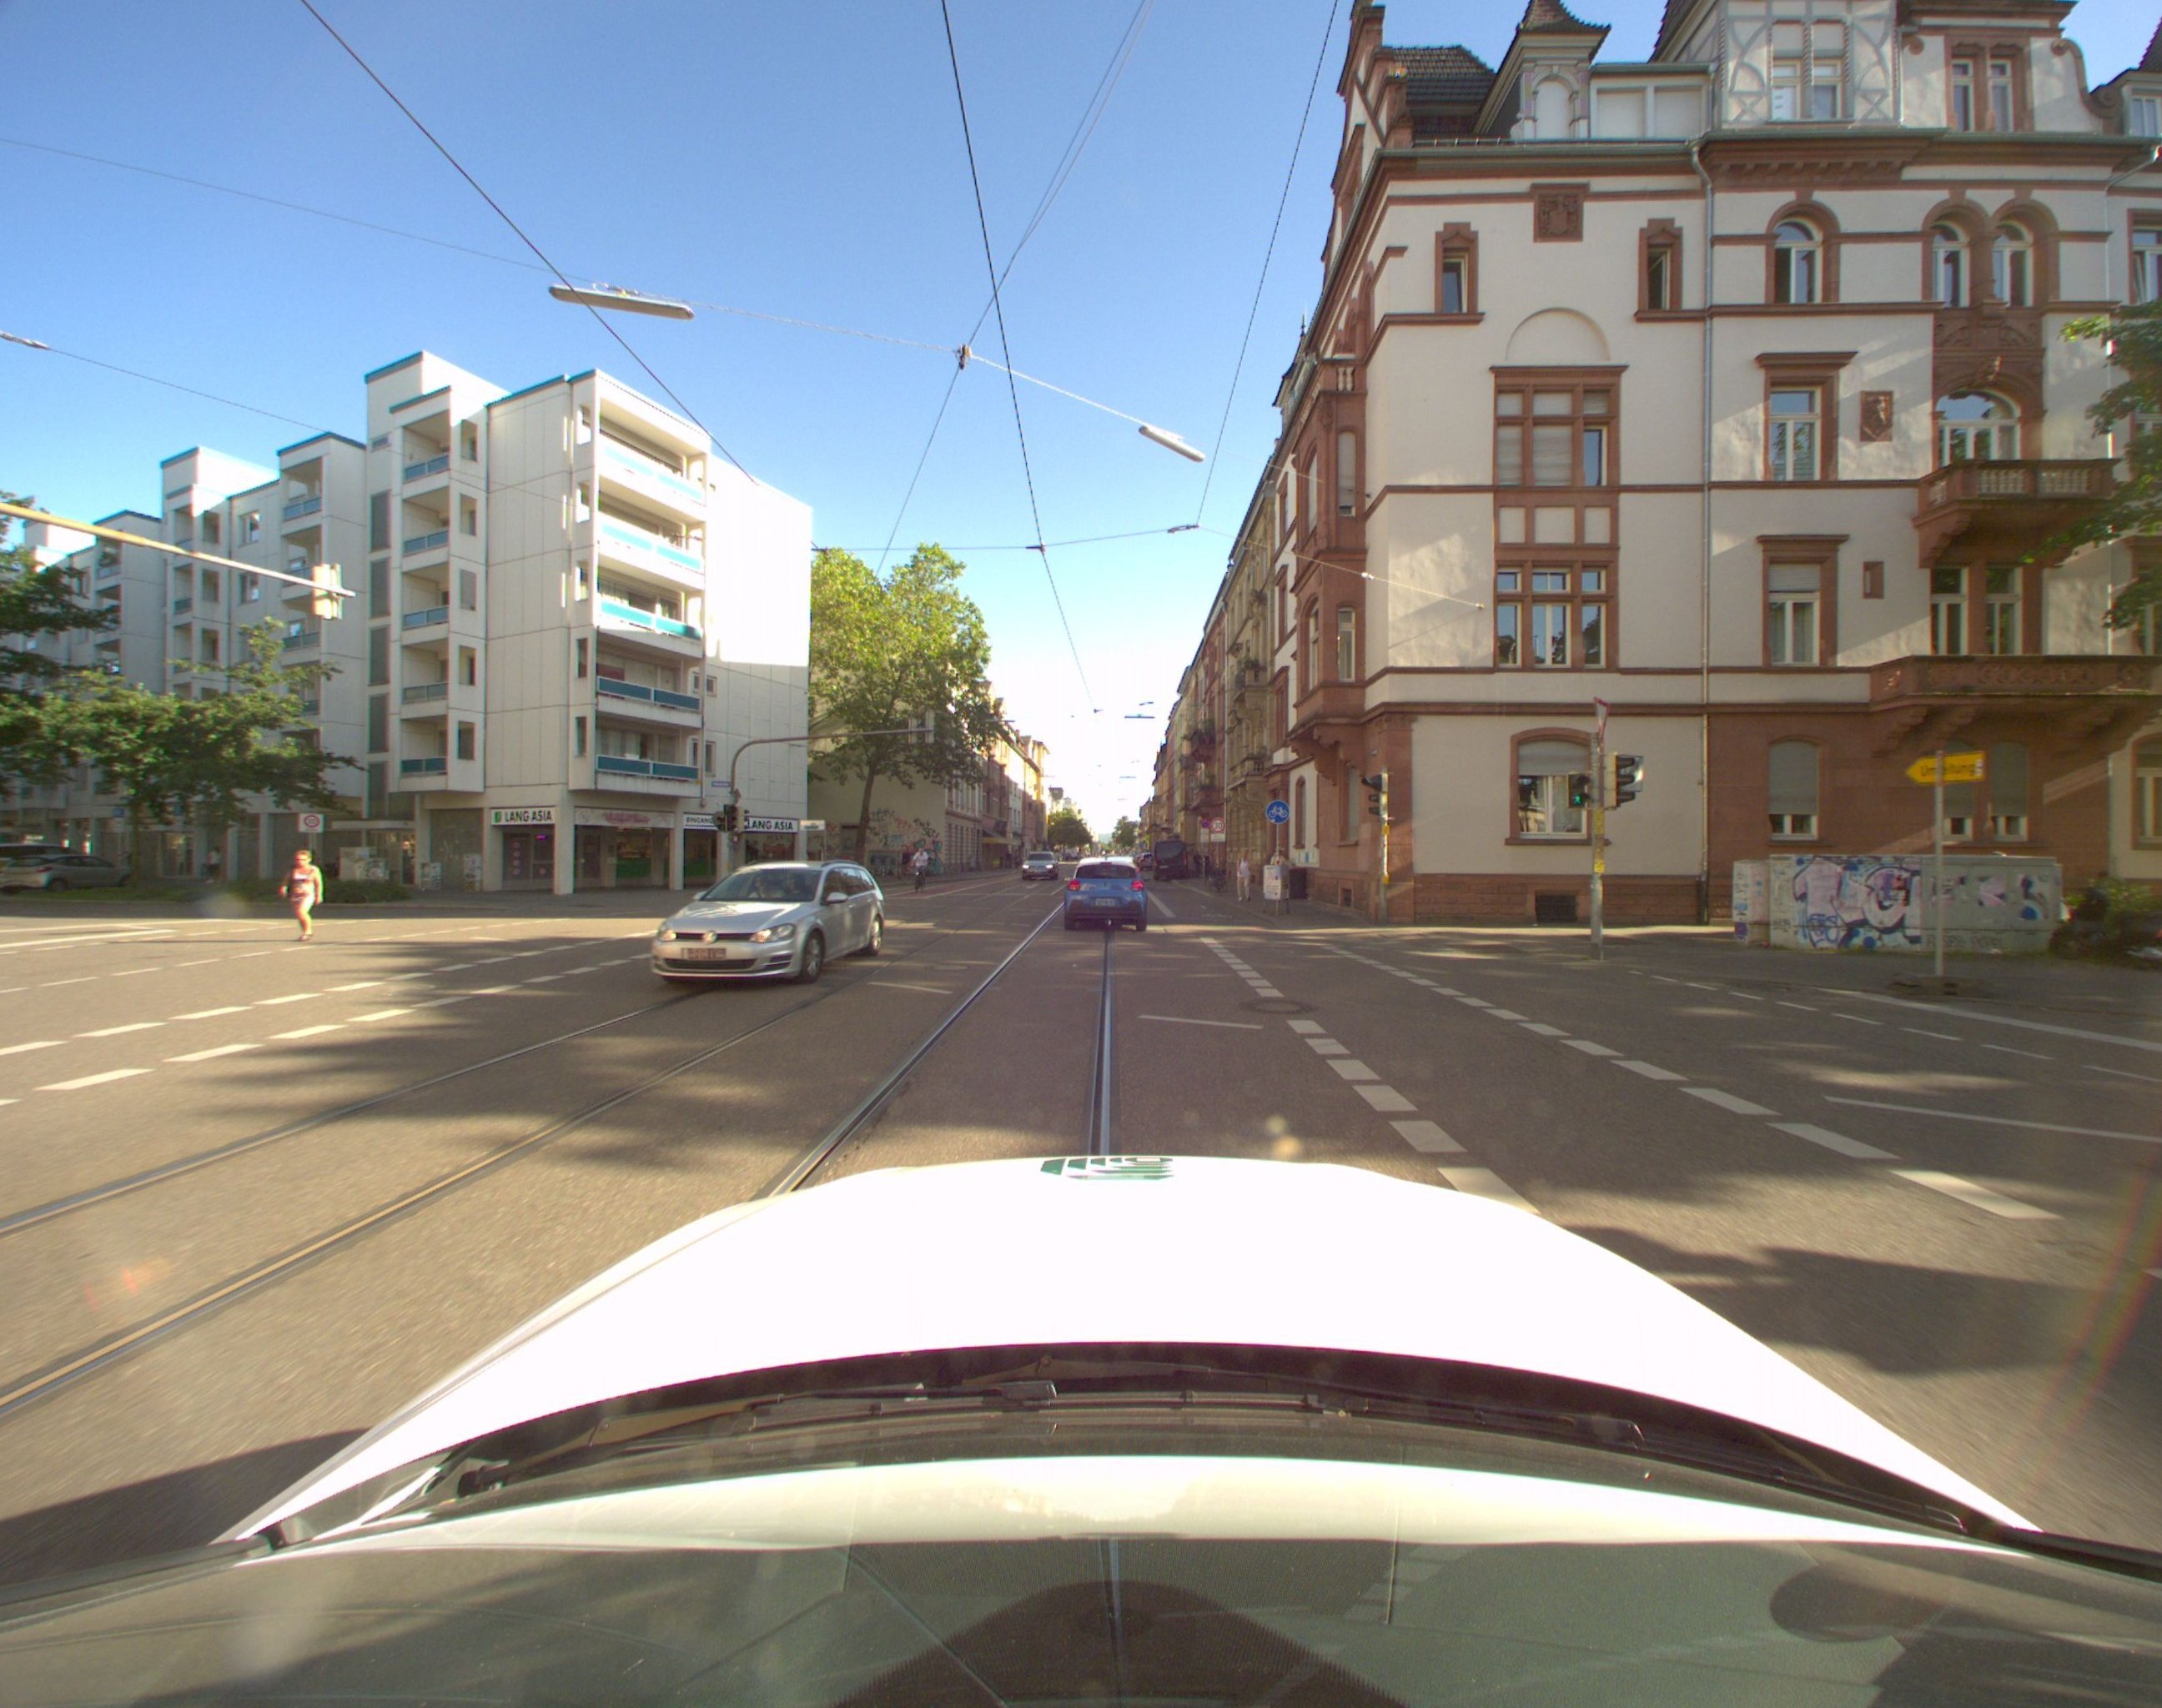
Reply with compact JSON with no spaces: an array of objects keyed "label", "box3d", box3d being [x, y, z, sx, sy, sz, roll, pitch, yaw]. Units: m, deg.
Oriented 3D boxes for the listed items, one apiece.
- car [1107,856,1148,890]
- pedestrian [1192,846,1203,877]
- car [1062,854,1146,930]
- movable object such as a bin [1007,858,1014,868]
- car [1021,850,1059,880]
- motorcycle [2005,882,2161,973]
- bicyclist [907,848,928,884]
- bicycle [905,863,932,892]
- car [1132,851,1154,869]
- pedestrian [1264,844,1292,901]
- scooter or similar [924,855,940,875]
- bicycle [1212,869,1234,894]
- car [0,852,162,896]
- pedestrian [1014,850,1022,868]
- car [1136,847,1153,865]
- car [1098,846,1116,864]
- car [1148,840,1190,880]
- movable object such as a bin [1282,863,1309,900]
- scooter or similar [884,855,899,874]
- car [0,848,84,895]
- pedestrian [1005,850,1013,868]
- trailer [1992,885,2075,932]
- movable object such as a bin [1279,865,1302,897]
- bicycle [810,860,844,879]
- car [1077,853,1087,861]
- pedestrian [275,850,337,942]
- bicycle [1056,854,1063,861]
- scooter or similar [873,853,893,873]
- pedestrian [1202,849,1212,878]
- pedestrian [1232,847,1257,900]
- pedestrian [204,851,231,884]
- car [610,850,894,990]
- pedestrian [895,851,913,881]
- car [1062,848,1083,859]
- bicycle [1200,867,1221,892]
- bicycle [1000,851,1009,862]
[{"label":"car","box3d":[2.056,0.816,36.837,1.661,1.478,4.000,0,0,1]},{"label":"pedestrian","box3d":[7.450,0.481,52.052,0.583,2.014,0.823,0,0,1]},{"label":"car","box3d":[0.579,0.756,18.103,1.667,1.477,4.004,0,0,3]},{"label":"movable object such as a bin","box3d":[-6.917,0.886,79.744,0.608,0.914,0.695,0,0,2]},{"label":"car","box3d":[-2.448,0.655,49.676,1.987,1.744,4.563,0,0,1]},{"label":"motorcycle","box3d":[15.171,1.054,11.908,0.609,1.124,2.391,0,2,1]},{"label":"bicyclist","box3d":[-6.781,0.475,33.856,0.680,1.483,0.779,0,0,1]},{"label":"bicycle","box3d":[-6.767,0.967,34.002,0.690,1.120,2.084,0,0,1]},{"label":"car","box3d":[6.119,0.592,80.515,1.998,1.672,4.808,0,0,2]},{"label":"pedestrian","box3d":[6.346,0.589,26.262,0.703,1.782,0.673,-2,0,0]},{"label":"scooter or similar","box3d":[-9.821,0.720,53.635,0.785,1.271,1.075,3,1,1]},{"label":"bicycle","box3d":[5.709,1.086,32.896,0.430,0.947,1.760,0,0,-5]},{"label":"car","box3d":[-39.095,0.736,31.867,1.594,1.486,4.003,2,1,3]},{"label":"pedestrian","box3d":[-6.141,0.497,79.188,0.709,1.764,0.653,0,0,-7]},{"label":"car","box3d":[8.147,0.187,104.585,1.998,1.670,4.398,1,8,2]},{"label":"car","box3d":[2.870,0.109,89.921,1.986,2.013,4.001,0,0,1]},{"label":"car","box3d":[5.695,0.359,53.320,2.263,2.437,5.722,0,0,2]},{"label":"movable object such as a bin","box3d":[7.187,0.908,27.270,0.664,1.153,0.594,-6,1,0]},{"label":"scooter or similar","box3d":[-12.351,0.664,53.089,0.937,1.222,0.765,0,0,-11]},{"label":"car","box3d":[-44.319,0.696,33.637,1.598,1.875,3.992,0,0,-6]},{"label":"pedestrian","box3d":[-6.965,0.453,79.032,0.708,1.764,0.570,0,0,0]},{"label":"trailer","box3d":[19.888,1.124,17.021,0.777,0.924,0.832,0,0,0]},{"label":"movable object such as a bin","box3d":[7.179,0.917,27.926,0.663,1.077,0.571,-1,0,0]},{"label":"bicycle","box3d":[-14.283,0.882,45.816,1.898,1.034,0.669,0,0,28]},{"label":"car","box3d":[0.260,0.637,175.159,1.986,1.651,4.001,0,0,1]},{"label":"pedestrian","box3d":[-13.397,0.718,14.087,0.541,1.552,0.516,0,0,0]},{"label":"bicycle","box3d":[-3.846,0.584,145.441,1.118,1.146,3.639,0,0,-4]},{"label":"scooter or similar","box3d":[-12.687,0.569,52.201,1.228,1.258,0.765,0,0,-11]},{"label":"pedestrian","box3d":[7.898,0.579,51.149,0.551,1.782,0.606,0,0,0]},{"label":"pedestrian","box3d":[5.366,0.628,26.810,0.626,1.701,0.681,0,0,-7]},{"label":"pedestrian","box3d":[-39.508,0.618,37.264,0.734,1.494,0.722,0,0,32]},{"label":"car","box3d":[-4.032,0.705,10.921,1.978,1.502,4.309,0,0,1]},{"label":"pedestrian","box3d":[-10.499,0.685,48.384,0.678,1.765,1.029,0,0,12]},{"label":"car","box3d":[-1.993,-0.040,194.355,4.328,2.581,2.192,-1,0,-24]},{"label":"bicycle","box3d":[5.225,1.010,32.854,0.430,0.947,1.760,0,0,-5]},{"label":"bicycle","box3d":[-7.603,0.238,80.914,0.621,1.159,2.057,0,0,-11]}]
